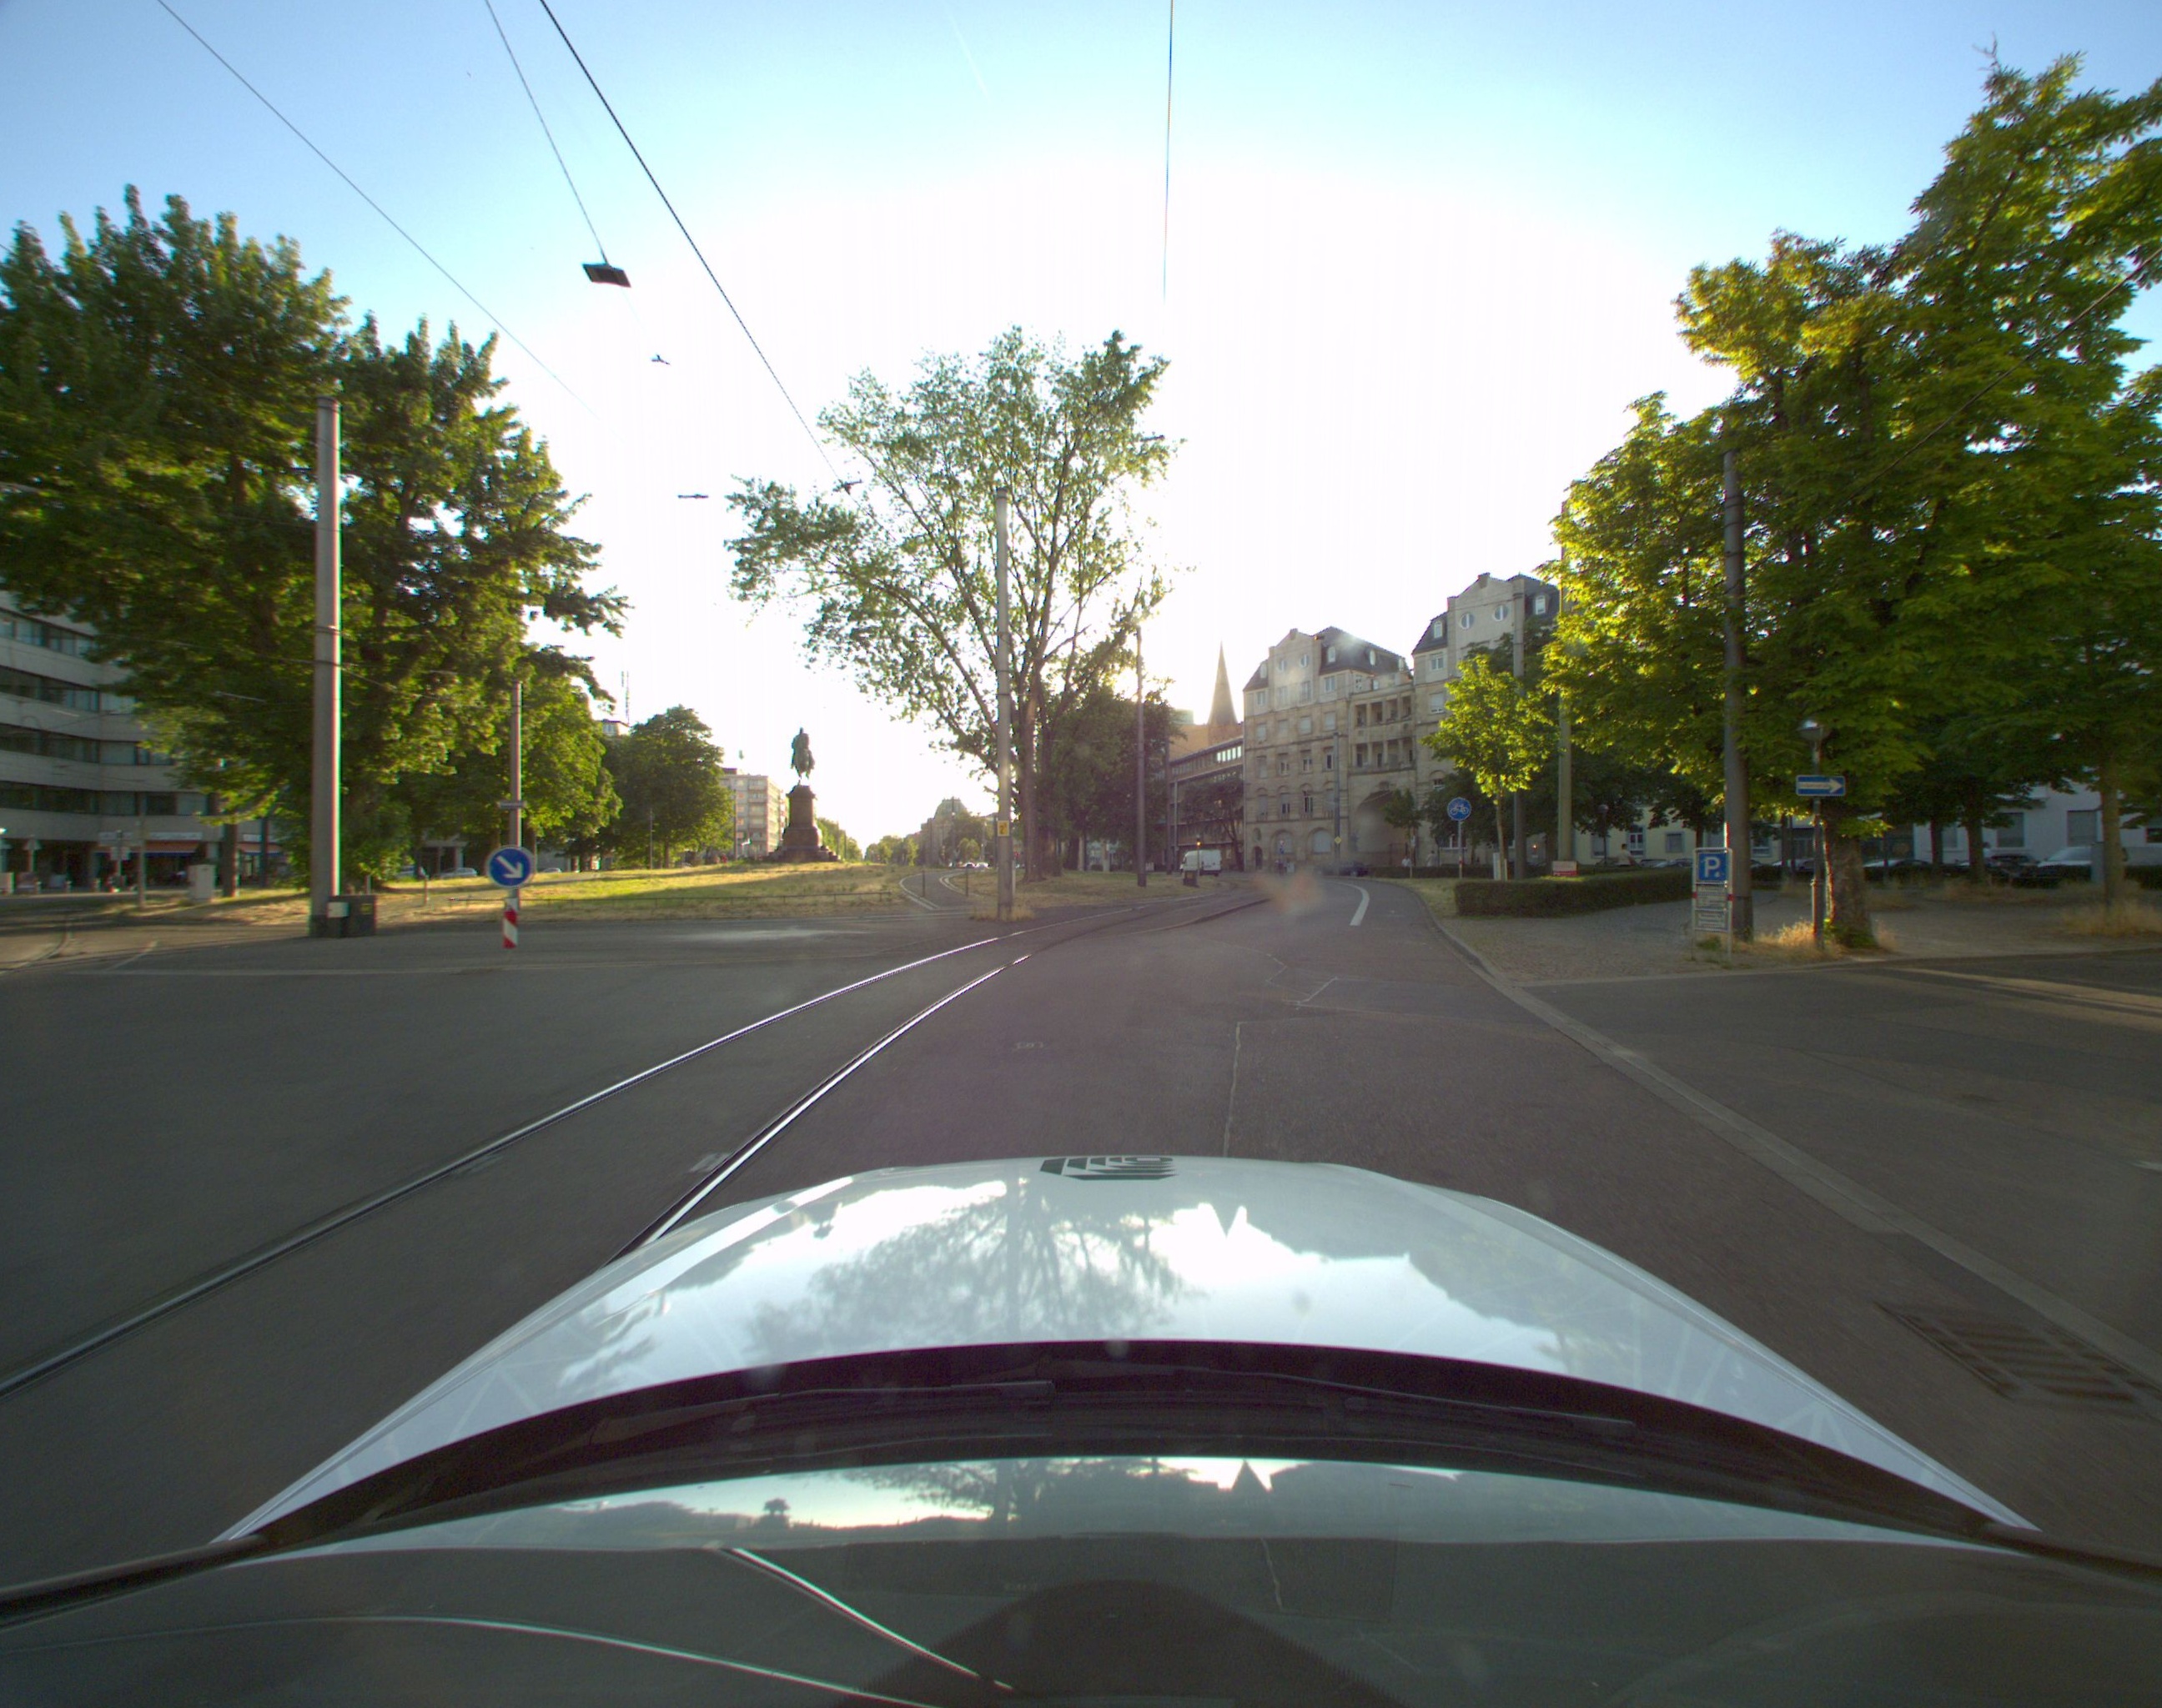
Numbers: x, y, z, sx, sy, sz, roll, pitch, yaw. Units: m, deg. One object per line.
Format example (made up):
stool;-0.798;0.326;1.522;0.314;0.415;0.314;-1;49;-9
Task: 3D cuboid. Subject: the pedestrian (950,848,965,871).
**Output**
pedestrian;-8.574;0.359;56.560;0.630;1.606;0.776;-1;0;32

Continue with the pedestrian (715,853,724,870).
pedestrian;-35.826;0.740;80.775;0.772;1.606;0.634;-1;0;-22

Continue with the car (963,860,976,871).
car;-21.864;2.279;159.185;2.142;2.013;3.980;0;0;-15

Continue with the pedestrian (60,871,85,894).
pedestrian;-67.165;1.901;54.249;0.738;1.503;0.773;-1;0;9

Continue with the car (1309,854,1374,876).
car;21.236;0.875;66.424;4.709;1.762;1.831;-1;0;41

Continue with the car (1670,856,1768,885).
car;33.396;0.853;42.644;4.325;1.426;1.851;0;-1;-17

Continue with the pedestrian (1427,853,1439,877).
pedestrian;22.633;0.707;52.348;0.627;1.511;0.692;-1;-1;33

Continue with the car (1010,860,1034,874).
car;-8.375;1.826;115.514;2.003;1.969;3.967;-1;0;-25

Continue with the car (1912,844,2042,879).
car;38.565;0.314;35.083;4.460;1.426;1.853;0;-1;-14

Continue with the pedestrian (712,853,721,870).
pedestrian;-36.419;0.747;81.348;0.772;1.606;0.634;-1;0;-22

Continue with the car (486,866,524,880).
car;-62.013;2.000;87.751;1.879;1.420;3.908;-1;0;-12

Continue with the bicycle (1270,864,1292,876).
bicycle;16.571;1.311;67.614;0.511;0.978;2.223;0;0;-25

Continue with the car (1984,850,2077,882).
car;48.929;0.595;41.963;4.004;1.564;1.985;0;0;-23

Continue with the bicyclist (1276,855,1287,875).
bicyclist;16.596;0.883;67.545;0.511;1.642;0.769;0;-1;-25

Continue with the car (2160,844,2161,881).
car;42.614;0.327;30.117;4.325;1.426;1.851;0;-1;-17

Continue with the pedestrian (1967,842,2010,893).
pedestrian;31.691;0.467;28.433;1.009;1.749;0.763;0;0;-27

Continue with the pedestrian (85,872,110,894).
pedestrian;-67.004;1.964;55.484;0.738;1.503;0.773;-1;0;9

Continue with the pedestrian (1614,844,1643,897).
pedestrian;21.018;0.617;31.275;0.821;2.013;0.644;0;0;-33

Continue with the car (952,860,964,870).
car;-26.336;2.305;174.480;2.142;2.013;3.980;0;0;-15

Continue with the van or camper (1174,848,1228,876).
van or camper;11.215;0.759;76.887;2.614;2.472;6.283;-1;0;-17

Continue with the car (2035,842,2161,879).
car;41.289;0.278;32.844;4.460;1.426;1.853;0;-1;-14

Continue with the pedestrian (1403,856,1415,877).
pedestrian;23.819;0.895;59.148;0.691;1.511;0.587;0;-1;-39

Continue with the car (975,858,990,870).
car;-17.716;1.744;146.212;2.142;2.013;3.980;0;0;-15
